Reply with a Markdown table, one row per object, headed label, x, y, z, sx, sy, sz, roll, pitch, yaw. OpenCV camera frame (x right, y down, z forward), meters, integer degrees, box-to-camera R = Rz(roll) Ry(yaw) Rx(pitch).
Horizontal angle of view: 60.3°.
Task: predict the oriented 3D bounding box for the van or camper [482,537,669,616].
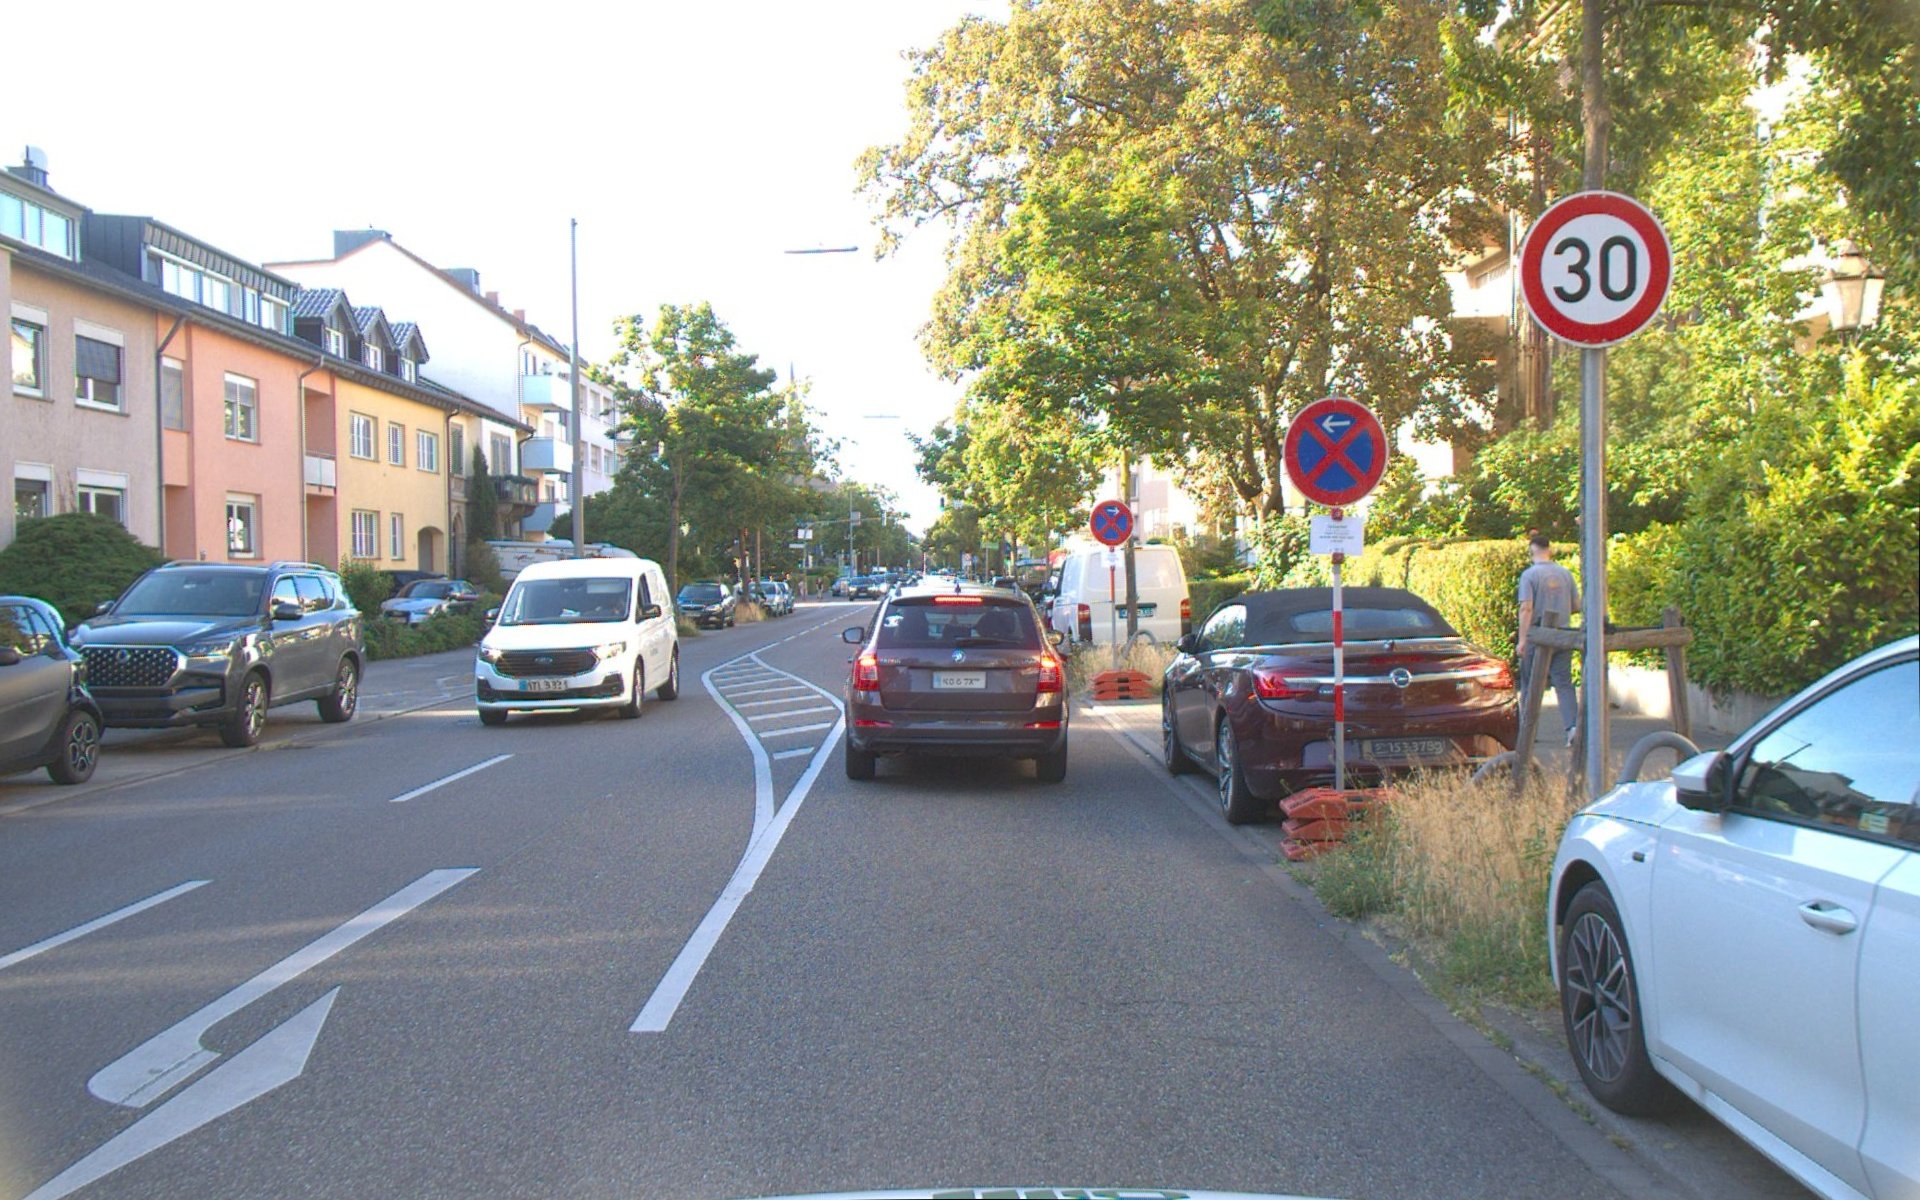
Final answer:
| label | x | y | z | sx | sy | sz | roll | pitch | yaw |
| --- | --- | --- | --- | --- | --- | --- | --- | --- | --- |
| van or camper | -14.807 | -0.891 | 64.033 | 6.661 | 2.821 | 2.351 | 2 | 0 | -2 |

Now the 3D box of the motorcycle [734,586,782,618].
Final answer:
| label | x | y | z | sx | sy | sz | roll | pitch | yaw |
| --- | --- | --- | --- | --- | --- | --- | --- | --- | --- |
| motorcycle | -8.324 | 0.079 | 68.065 | 2.014 | 1.287 | 0.764 | -1 | 1 | 38 |

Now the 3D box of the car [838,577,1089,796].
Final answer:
| label | x | y | z | sx | sy | sz | roll | pitch | yaw |
| --- | --- | --- | --- | --- | --- | --- | --- | --- | --- |
| car | -0.022 | 0.574 | 13.629 | 1.737 | 1.515 | 4.310 | 0 | 1 | -1 |

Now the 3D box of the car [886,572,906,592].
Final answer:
| label | x | y | z | sx | sy | sz | roll | pitch | yaw |
| --- | --- | --- | --- | --- | --- | --- | --- | --- | --- |
| car | -6.610 | -1.872 | 170.777 | 1.953 | 1.941 | 4.963 | -3 | 1 | -1 |

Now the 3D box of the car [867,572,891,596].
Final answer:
| label | x | y | z | sx | sy | sz | roll | pitch | yaw |
| --- | --- | --- | --- | --- | --- | --- | --- | --- | --- |
| car | -6.641 | -1.309 | 135.373 | 1.769 | 1.836 | 4.745 | -2 | 1 | -1 |

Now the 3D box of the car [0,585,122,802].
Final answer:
| label | x | y | z | sx | sy | sz | roll | pitch | yaw |
| --- | --- | --- | --- | --- | --- | --- | --- | --- | --- |
| car | -7.821 | 0.691 | 12.586 | 1.541 | 1.582 | 2.748 | -1 | 1 | -2 |

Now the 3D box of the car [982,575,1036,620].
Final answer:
| label | x | y | z | sx | sy | sz | roll | pitch | yaw |
| --- | --- | --- | --- | --- | --- | --- | --- | --- | --- |
| car | 1.866 | -0.109 | 63.574 | 1.818 | 1.609 | 4.012 | -2 | 1 | -1 |

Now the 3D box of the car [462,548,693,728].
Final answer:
| label | x | y | z | sx | sy | sz | roll | pitch | yaw |
| --- | --- | --- | --- | --- | --- | --- | --- | --- | --- |
| car | -4.457 | 0.379 | 19.943 | 1.850 | 1.835 | 4.429 | -3 | 1 | -3 |

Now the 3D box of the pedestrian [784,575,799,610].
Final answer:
| label | x | y | z | sx | sy | sz | roll | pitch | yaw |
| --- | --- | --- | --- | --- | --- | --- | --- | --- | --- |
| pedestrian | -9.938 | -0.426 | 97.328 | 0.764 | 2.022 | 0.821 | -1 | 0 | 0 |

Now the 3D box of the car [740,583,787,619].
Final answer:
| label | x | y | z | sx | sy | sz | roll | pitch | yaw |
| --- | --- | --- | --- | --- | --- | --- | --- | --- | --- |
| car | -8.502 | 0.018 | 71.771 | 1.561 | 1.496 | 3.803 | 1 | 1 | -1 |

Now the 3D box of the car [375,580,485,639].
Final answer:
| label | x | y | z | sx | sy | sz | roll | pitch | yaw |
| --- | --- | --- | --- | --- | --- | --- | --- | --- | --- |
| car | -13.936 | 0.221 | 43.659 | 1.630 | 1.433 | 3.753 | -2 | 1 | 1 |

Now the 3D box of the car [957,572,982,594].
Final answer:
| label | x | y | z | sx | sy | sz | roll | pitch | yaw |
| --- | --- | --- | --- | --- | --- | --- | --- | --- | --- |
| car | 0.821 | -1.427 | 138.580 | 1.952 | 1.803 | 4.001 | 1 | 1 | 2 |

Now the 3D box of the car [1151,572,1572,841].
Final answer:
| label | x | y | z | sx | sy | sz | roll | pitch | yaw |
| --- | --- | --- | --- | --- | --- | --- | --- | --- | --- |
| car | 2.560 | 0.576 | 11.751 | 1.722 | 1.444 | 4.614 | -3 | 1 | -1 |

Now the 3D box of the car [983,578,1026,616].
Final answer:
| label | x | y | z | sx | sy | sz | roll | pitch | yaw |
| --- | --- | --- | --- | --- | --- | --- | --- | --- | --- |
| car | 1.850 | -0.154 | 69.199 | 1.668 | 1.475 | 4.014 | -2 | 1 | 1 |

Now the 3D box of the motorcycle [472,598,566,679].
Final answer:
| label | x | y | z | sx | sy | sz | roll | pitch | yaw |
| --- | --- | --- | --- | --- | --- | --- | --- | --- | --- |
| motorcycle | -7.569 | 0.627 | 28.313 | 1.164 | 1.288 | 2.352 | -1 | 1 | -24 |

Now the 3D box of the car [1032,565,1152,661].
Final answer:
| label | x | y | z | sx | sy | sz | roll | pitch | yaw |
| --- | --- | --- | --- | --- | --- | --- | --- | --- | --- |
| car | 2.475 | 0.204 | 32.022 | 1.818 | 1.631 | 4.310 | -3 | 1 | -1 |

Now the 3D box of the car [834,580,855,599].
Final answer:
| label | x | y | z | sx | sy | sz | roll | pitch | yaw |
| --- | --- | --- | --- | --- | --- | --- | --- | --- | --- |
| car | -9.360 | -0.886 | 134.133 | 1.491 | 1.482 | 3.584 | -1 | 1 | -1 |

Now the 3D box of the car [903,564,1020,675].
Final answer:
| label | x | y | z | sx | sy | sz | roll | pitch | yaw |
| --- | --- | --- | --- | --- | --- | --- | --- | --- | --- |
| car | -0.011 | 0.270 | 26.338 | 1.701 | 1.598 | 3.999 | 1 | 1 | -1 |

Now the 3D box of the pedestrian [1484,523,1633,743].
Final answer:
| label | x | y | z | sx | sy | sz | roll | pitch | yaw |
| --- | --- | --- | --- | --- | --- | --- | --- | --- | --- |
| pedestrian | 5.109 | 0.264 | 14.181 | 0.804 | 1.805 | 1.088 | -1 | 0 | -5 |

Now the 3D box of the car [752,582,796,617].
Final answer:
| label | x | y | z | sx | sy | sz | roll | pitch | yaw |
| --- | --- | --- | --- | --- | --- | --- | --- | --- | --- |
| car | -8.565 | -0.063 | 76.399 | 1.615 | 1.544 | 4.073 | 1 | 1 | -1 |

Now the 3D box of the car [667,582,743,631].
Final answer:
| label | x | y | z | sx | sy | sz | roll | pitch | yaw |
| --- | --- | --- | --- | --- | --- | --- | --- | --- | --- |
| car | -8.410 | 0.183 | 54.837 | 1.829 | 1.520 | 4.517 | 1 | 1 | -1 |

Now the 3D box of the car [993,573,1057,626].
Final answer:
| label | x | y | z | sx | sy | sz | roll | pitch | yaw |
| --- | --- | --- | --- | --- | --- | --- | --- | --- | --- |
| car | 1.966 | -0.047 | 51.086 | 1.674 | 1.506 | 4.267 | -3 | 1 | -1 |

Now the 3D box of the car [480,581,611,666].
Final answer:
| label | x | y | z | sx | sy | sz | roll | pitch | yaw |
| --- | --- | --- | --- | --- | --- | --- | --- | --- | --- |
| car | -7.981 | 0.415 | 32.126 | 1.560 | 1.550 | 3.437 | -1 | 1 | 2 |

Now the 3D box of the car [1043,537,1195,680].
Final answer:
| label | x | y | z | sx | sy | sz | roll | pitch | yaw |
| --- | --- | --- | --- | --- | --- | --- | --- | --- | --- |
| car | 2.526 | 0.095 | 27.421 | 1.865 | 2.140 | 4.639 | -1 | 1 | -3 |

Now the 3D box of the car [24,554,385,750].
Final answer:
| label | x | y | z | sx | sy | sz | roll | pitch | yaw |
| --- | --- | --- | --- | --- | --- | --- | --- | --- | --- |
| car | -7.887 | 0.459 | 17.838 | 1.849 | 1.810 | 4.724 | -1 | 1 | -2 |

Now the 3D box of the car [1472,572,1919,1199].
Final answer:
| label | x | y | z | sx | sy | sz | roll | pitch | yaw |
| --- | --- | --- | --- | --- | --- | --- | --- | --- | --- |
| car | 2.648 | 0.694 | 3.282 | 1.784 | 1.503 | 4.621 | -1 | 1 | -1 |

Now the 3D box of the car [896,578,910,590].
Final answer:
| label | x | y | z | sx | sy | sz | roll | pitch | yaw |
| --- | --- | --- | --- | --- | --- | --- | --- | --- | --- |
| car | -8.189 | -2.318 | 237.804 | 1.793 | 1.607 | 4.000 | -1 | 1 | -1 |

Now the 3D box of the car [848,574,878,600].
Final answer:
| label | x | y | z | sx | sy | sz | roll | pitch | yaw |
| --- | --- | --- | --- | --- | --- | --- | --- | --- | --- |
| car | -6.510 | -0.868 | 111.096 | 1.798 | 1.597 | 3.999 | -3 | 0 | -1 |

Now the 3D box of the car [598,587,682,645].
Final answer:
| label | x | y | z | sx | sy | sz | roll | pitch | yaw |
| --- | --- | --- | --- | --- | --- | --- | --- | --- | --- |
| car | -8.289 | 0.379 | 43.053 | 1.511 | 1.421 | 3.665 | -1 | 1 | -1 |
